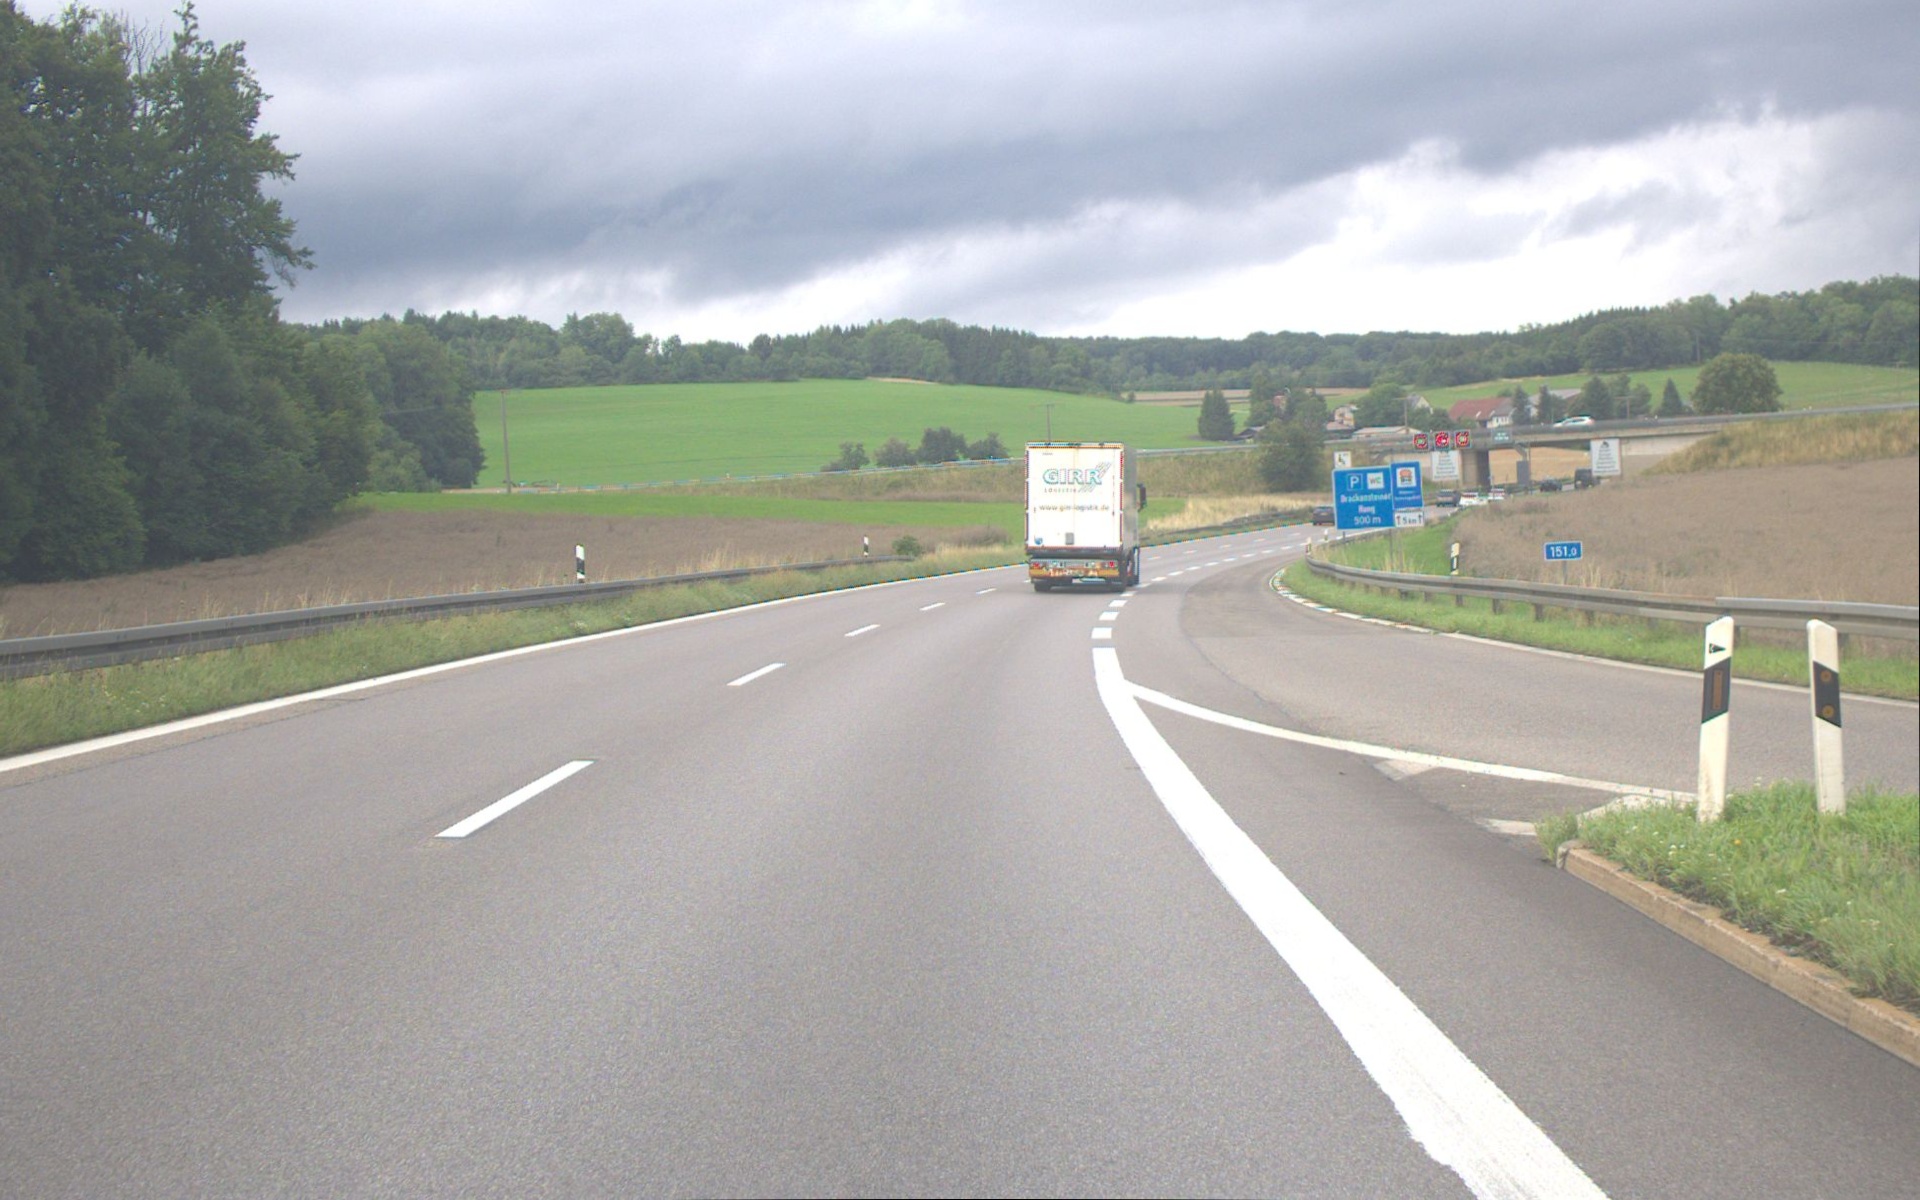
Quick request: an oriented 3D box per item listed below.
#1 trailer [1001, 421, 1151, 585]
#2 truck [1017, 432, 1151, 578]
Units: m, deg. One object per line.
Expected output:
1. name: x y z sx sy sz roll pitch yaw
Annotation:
1. trailer: 3.392 -2.657 96.050 3.806 4.160 14.807 -1 1 3
2. truck: 3.786 -2.804 102.715 3.788 4.117 8.264 -1 1 3
